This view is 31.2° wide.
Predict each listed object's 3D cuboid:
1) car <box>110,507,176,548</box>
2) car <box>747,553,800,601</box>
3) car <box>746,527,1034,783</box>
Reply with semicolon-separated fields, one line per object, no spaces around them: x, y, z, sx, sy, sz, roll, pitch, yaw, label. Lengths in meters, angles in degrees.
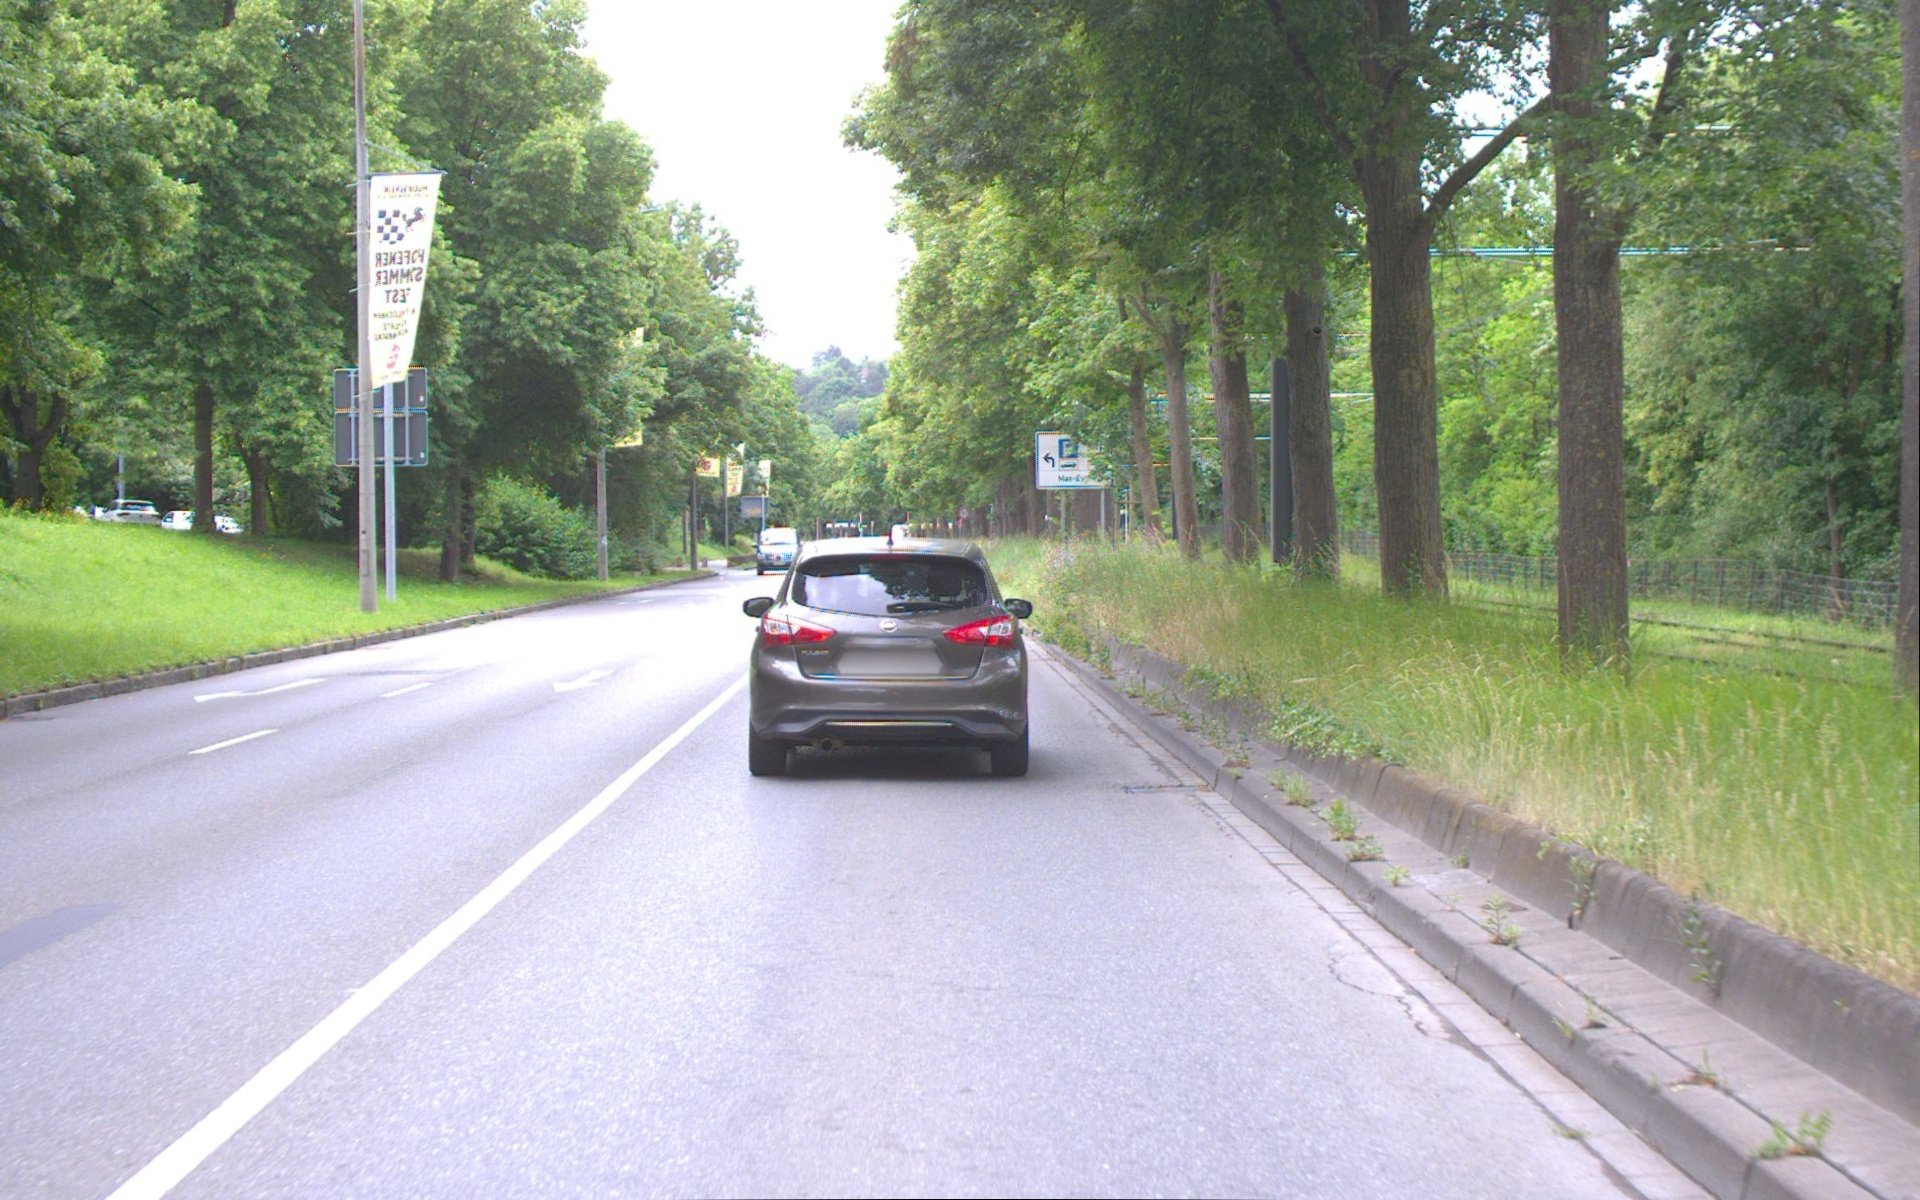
-30.553;-2.704;128.528;1.645;1.481;4.001;1;1;-25;car
-7.860;-0.981;145.372;1.993;1.949;5.184;-1;0;0;car
-0.471;0.315;22.687;1.730;1.532;3.552;1;1;-1;car
